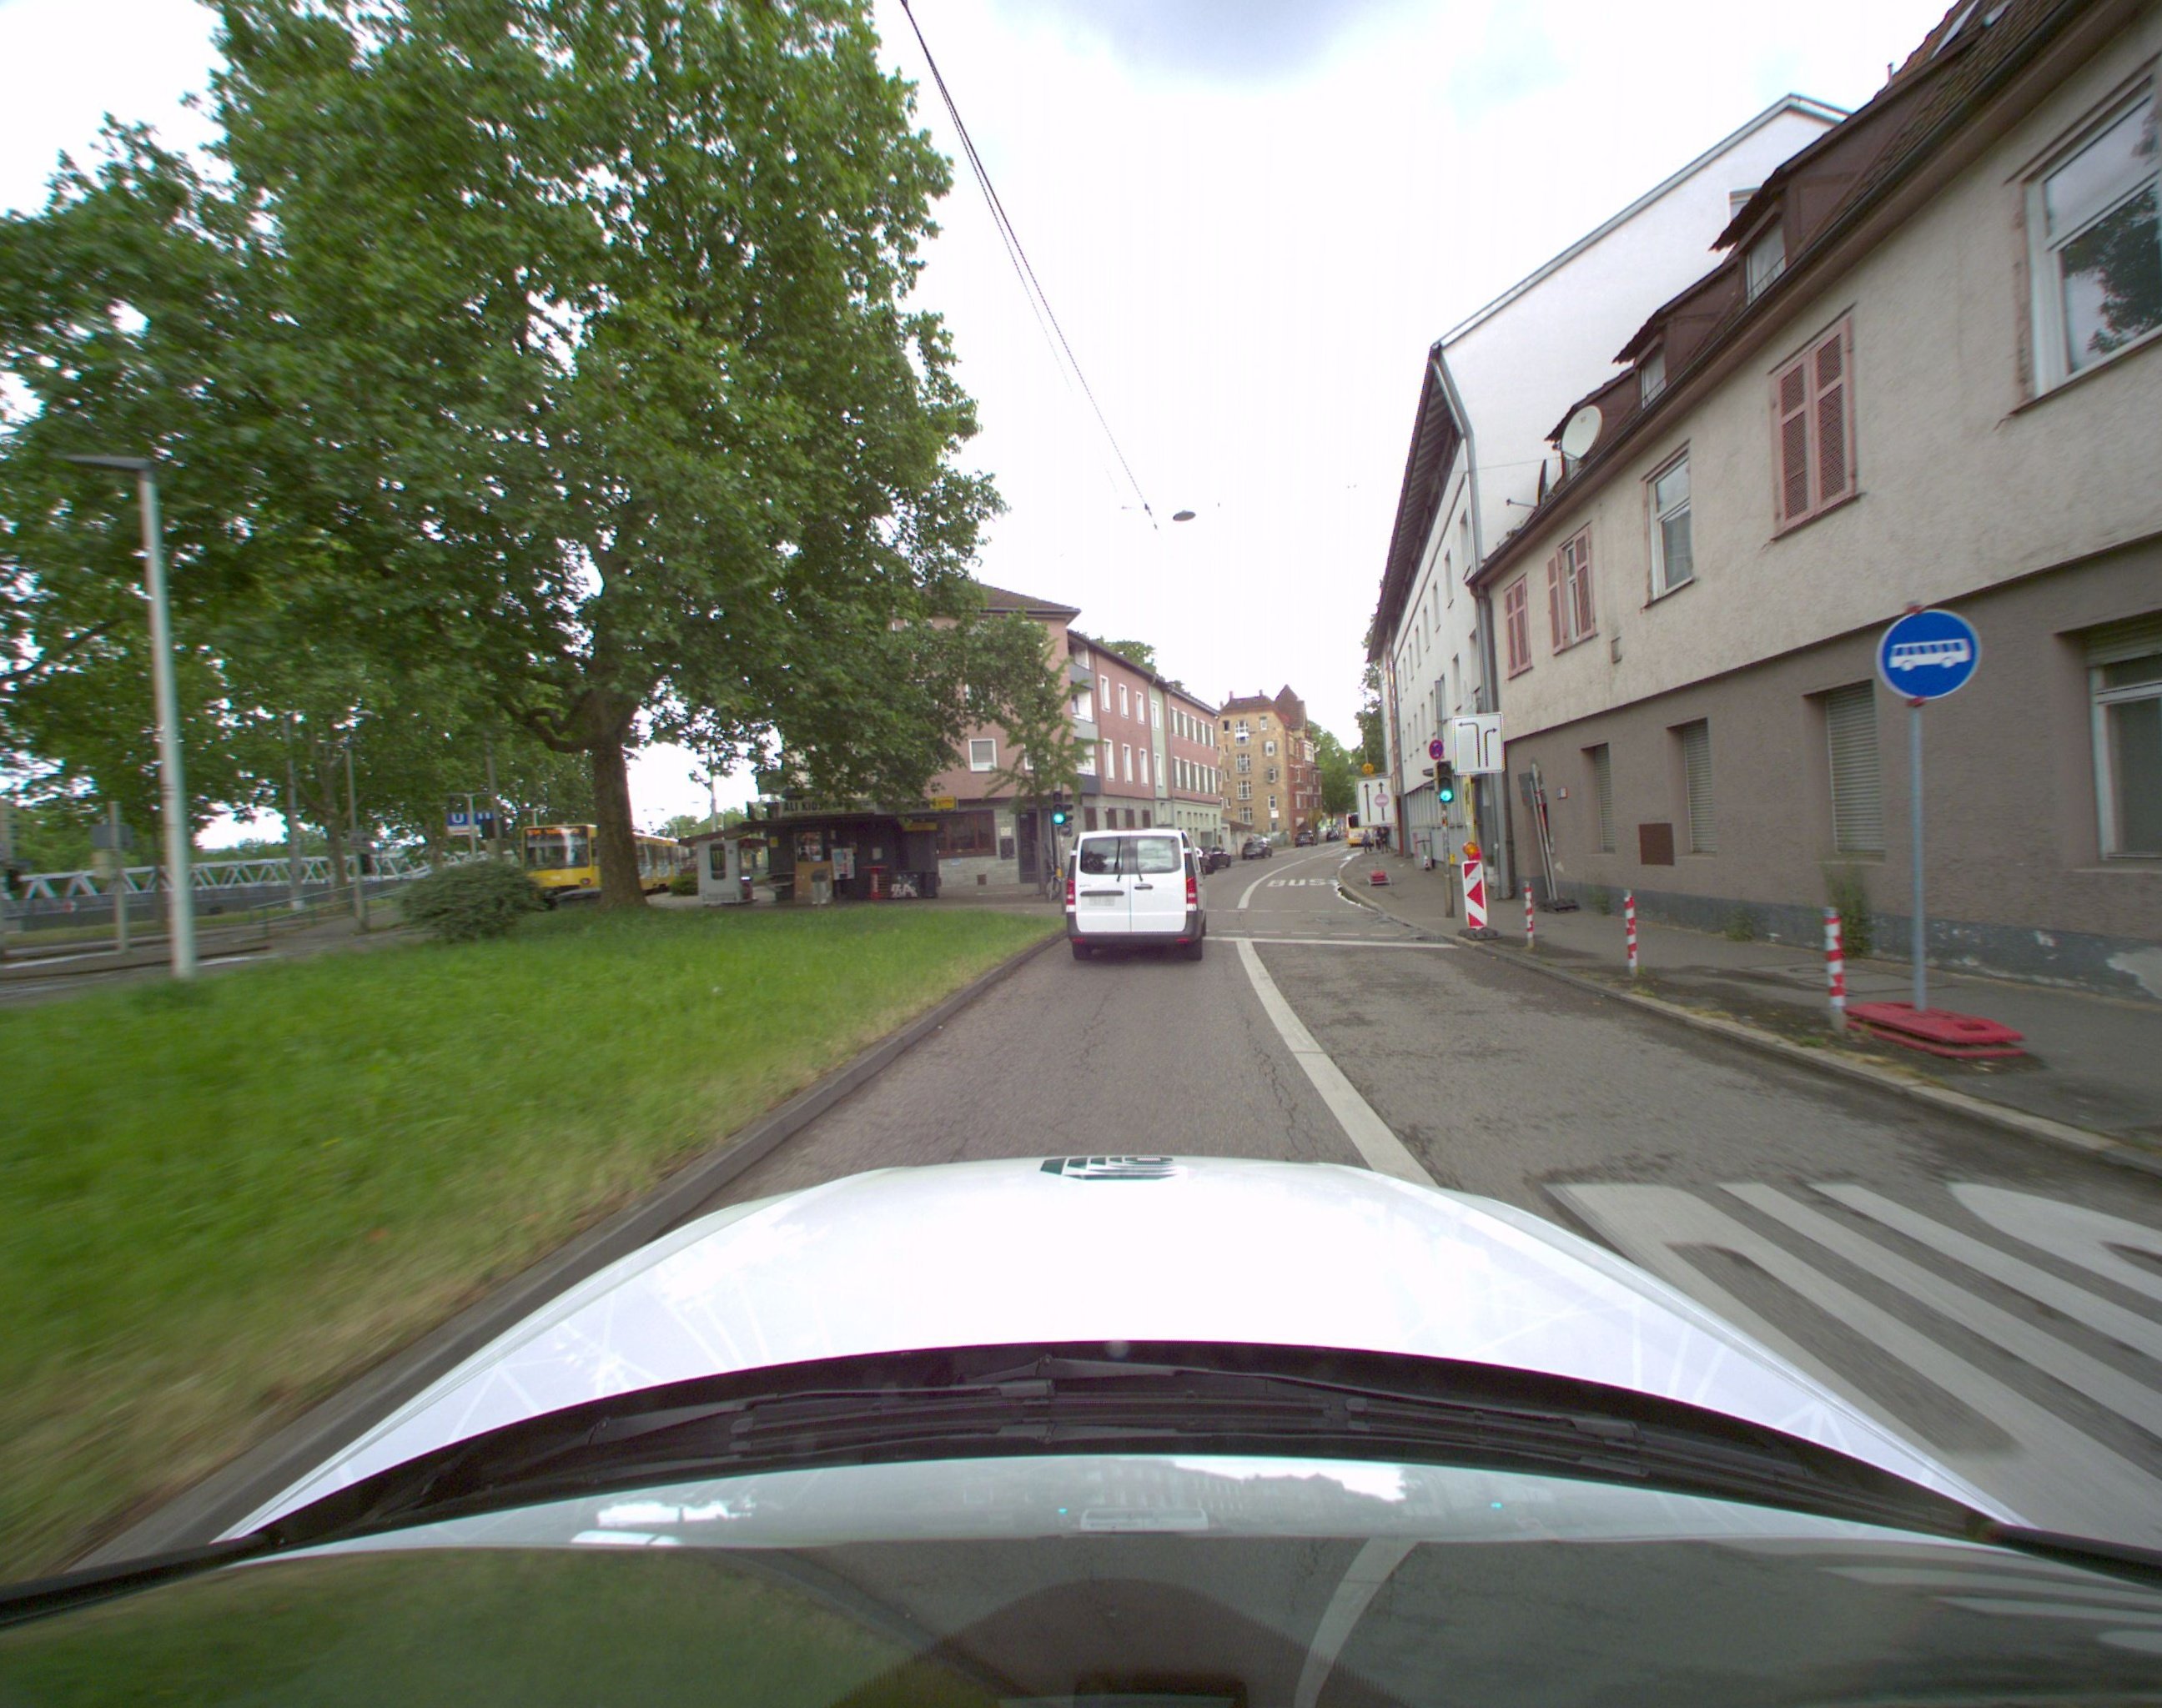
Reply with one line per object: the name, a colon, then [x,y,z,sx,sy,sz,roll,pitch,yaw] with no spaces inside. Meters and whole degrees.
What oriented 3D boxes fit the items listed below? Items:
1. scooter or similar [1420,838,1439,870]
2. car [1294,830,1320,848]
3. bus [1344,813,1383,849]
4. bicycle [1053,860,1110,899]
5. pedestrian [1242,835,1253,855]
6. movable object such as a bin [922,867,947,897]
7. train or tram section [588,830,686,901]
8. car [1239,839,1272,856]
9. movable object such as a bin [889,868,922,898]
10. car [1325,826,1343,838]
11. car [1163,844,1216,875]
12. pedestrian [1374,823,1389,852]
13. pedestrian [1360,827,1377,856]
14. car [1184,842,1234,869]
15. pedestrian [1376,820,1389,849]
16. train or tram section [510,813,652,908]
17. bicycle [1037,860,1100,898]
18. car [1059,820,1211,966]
scooter or similar: [13.197,-0.016,30.866,0.425,1.097,1.446,-5,1,17]
car: [24.905,-1.716,89.649,1.936,1.733,4.801,-3,1,24]
bus: [26.872,-2.263,77.149,2.639,3.135,10.099,-1,2,24]
bicycle: [0.015,0.822,26.541,1.796,1.176,0.724,-1,0,-2]
pedestrian: [14.595,-0.793,71.338,0.754,1.744,0.990,-1,1,21]
movable object such as a bin: [-5.023,0.934,27.857,0.673,0.964,1.072,0,1,-20]
train or tram section: [-25.687,0.730,47.782,2.923,3.672,10.939,0,-2,-17]
car: [13.853,-0.525,64.549,1.977,1.290,4.020,-1,0,20]
movable object such as a bin: [-5.940,0.971,27.503,0.968,0.964,1.105,0,1,-20]
car: [35.547,-3.089,114.258,1.709,1.485,4.417,-3,3,25]
car: [5.965,0.271,44.310,1.814,1.455,4.608,-3,0,20]
pedestrian: [19.208,-1.077,52.044,0.681,1.756,0.882,-6,1,17]
pedestrian: [18.701,-0.825,52.981,0.797,1.793,0.947,-6,1,17]
car: [7.871,0.050,49.704,1.813,1.455,4.948,-3,0,22]
pedestrian: [18.962,-1.208,51.207,0.537,1.756,0.612,-6,1,31]
train or tram section: [-22.415,0.403,37.350,2.923,3.672,10.939,0,-2,-17]
bicycle: [-0.385,0.778,25.295,1.854,1.113,0.581,-1,0,20]
car: [1.065,0.510,13.056,1.905,1.901,4.715,-1,0,10]
